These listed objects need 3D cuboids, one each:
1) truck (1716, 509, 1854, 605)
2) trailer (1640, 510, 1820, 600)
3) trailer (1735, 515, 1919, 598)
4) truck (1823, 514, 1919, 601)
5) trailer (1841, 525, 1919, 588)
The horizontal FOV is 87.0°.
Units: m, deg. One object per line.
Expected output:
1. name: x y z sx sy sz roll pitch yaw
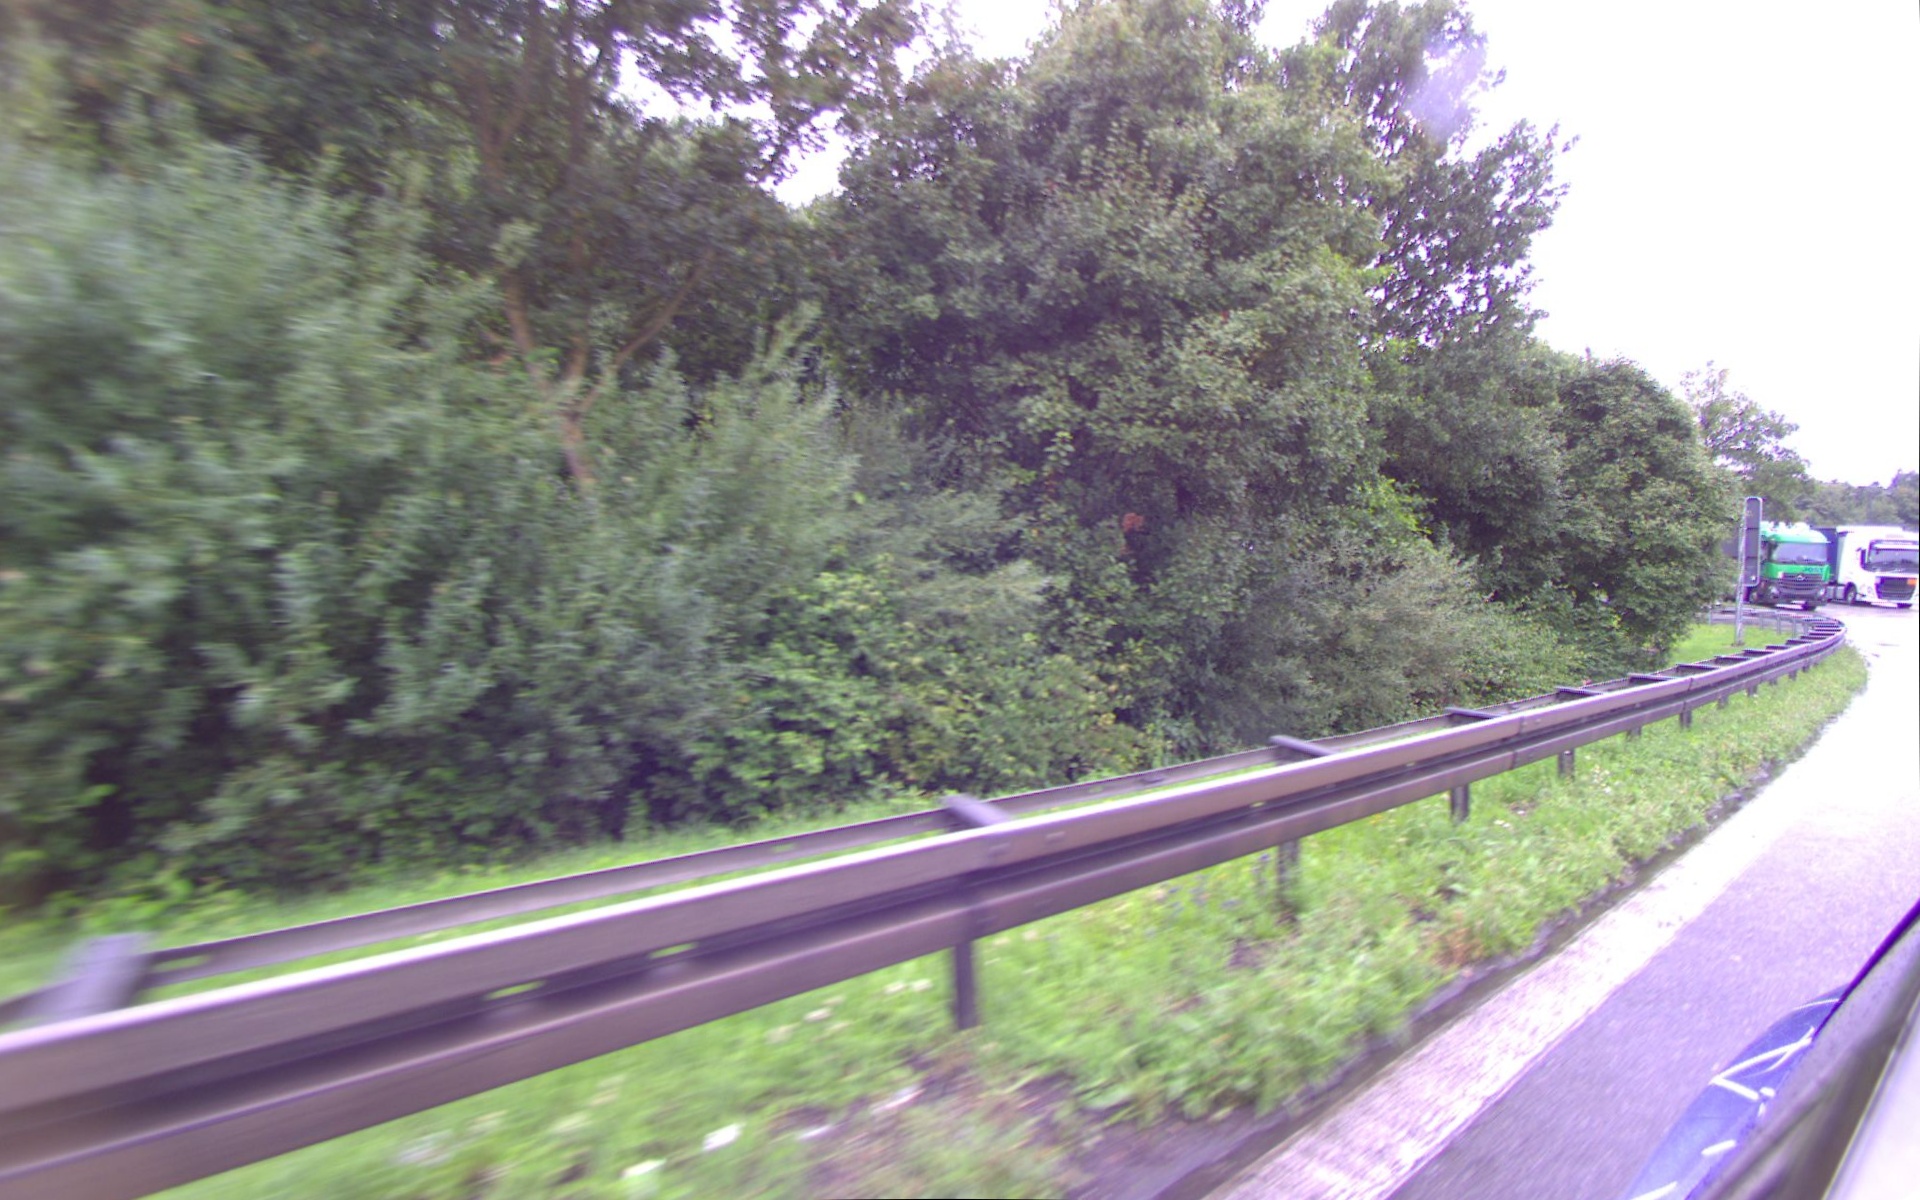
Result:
1. truck: 38.953 -2.120 48.046 2.788 4.199 5.970 2 4 17
2. trailer: 40.956 -2.541 54.642 2.788 4.199 13.903 2 4 16
3. trailer: 49.732 -2.683 58.839 2.790 4.220 13.921 2 4 18
4. truck: 47.495 -2.229 51.988 2.790 4.195 5.275 2 4 18
5. trailer: 62.938 -2.822 65.974 2.807 3.965 13.884 2 4 17
